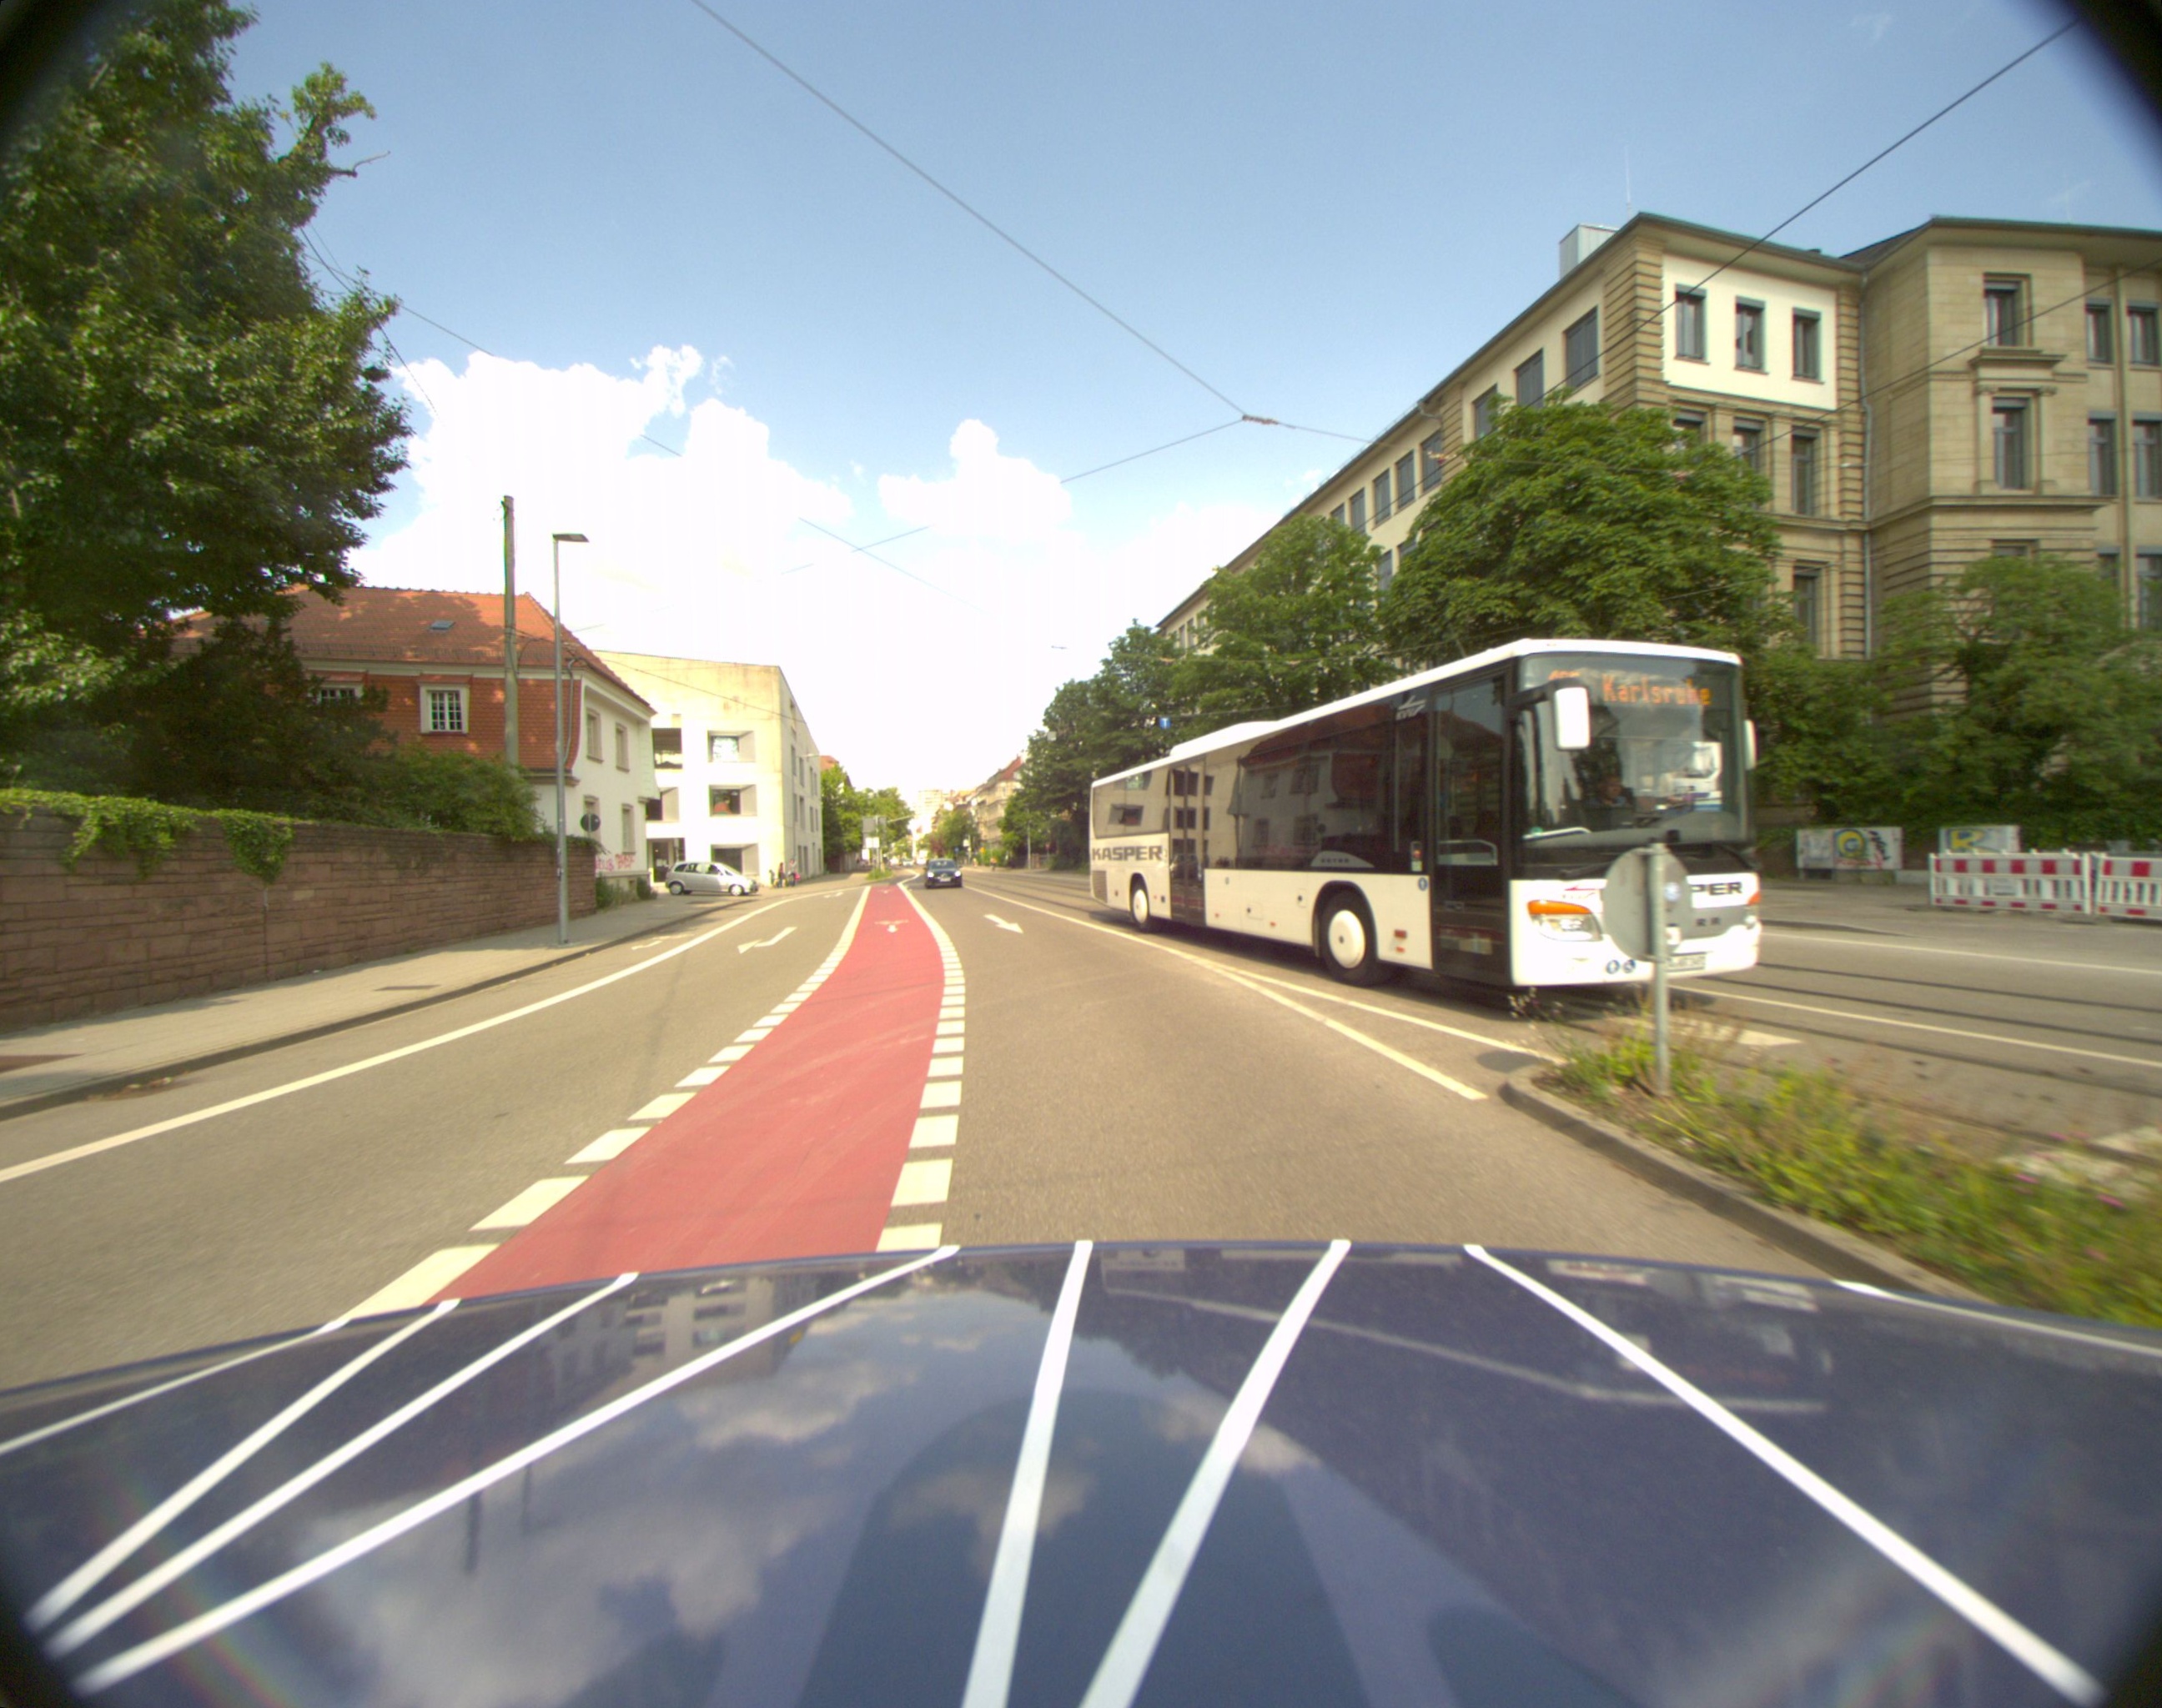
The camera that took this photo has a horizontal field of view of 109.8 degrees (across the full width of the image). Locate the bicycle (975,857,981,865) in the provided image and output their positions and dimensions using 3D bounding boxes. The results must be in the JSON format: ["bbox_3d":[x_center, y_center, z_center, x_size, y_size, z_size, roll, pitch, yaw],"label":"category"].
[{"bbox_3d":[-14.674,0.951,108.248,0.605,1.090,2.020,4,-1,-12],"label":"bicycle"}]

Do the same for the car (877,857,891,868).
[{"bbox_3d":[-27.594,1.190,106.346,1.713,1.489,4.782,-1,0,-15],"label":"car"}]

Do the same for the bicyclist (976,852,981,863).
[{"bbox_3d":[-14.652,0.484,108.301,0.601,1.483,0.881,4,-1,-12],"label":"bicyclist"}]

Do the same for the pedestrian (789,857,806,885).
[{"bbox_3d":[-17.568,1.034,47.083,0.686,1.714,0.747,0,-1,9],"label":"pedestrian"}]

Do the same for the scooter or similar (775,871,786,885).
[{"bbox_3d":[-18.208,1.449,46.086,0.551,0.795,0.267,2,-2,-38],"label":"scooter or similar"}]

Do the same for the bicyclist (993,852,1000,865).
[{"bbox_3d":[-9.663,0.510,86.720,0.693,1.510,0.866,0,0,-18],"label":"bicyclist"}]

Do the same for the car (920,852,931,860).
[{"bbox_3d":[-37.203,0.407,181.682,1.905,1.896,5.376,-1,0,-16],"label":"car"}]

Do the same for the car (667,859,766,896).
[{"bbox_3d":[-17.213,1.099,36.005,3.893,1.595,1.664,-1,-1,-11],"label":"car"}]

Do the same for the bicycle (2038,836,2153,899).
[{"bbox_3d":[20.880,0.263,15.639,2.122,1.161,0.729,-3,1,-16],"label":"bicycle"}]

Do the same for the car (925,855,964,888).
[{"bbox_3d":[-7.117,0.870,39.349,1.695,1.568,4.151,-2,0,-14],"label":"car"}]

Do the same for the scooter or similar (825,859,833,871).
[{"bbox_3d":[-24.746,1.107,74.610,0.323,1.174,1.148,-2,1,-2],"label":"scooter or similar"}]

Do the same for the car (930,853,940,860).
[{"bbox_3d":[-29.329,0.566,152.236,1.695,1.393,3.925,1,0,-15],"label":"car"}]

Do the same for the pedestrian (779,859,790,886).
[{"bbox_3d":[-17.621,1.107,45.223,0.521,1.570,0.548,0,-1,-12],"label":"pedestrian"}]

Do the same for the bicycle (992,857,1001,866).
[{"bbox_3d":[-9.640,0.868,86.669,0.701,1.011,1.816,0,0,-18],"label":"bicycle"}]

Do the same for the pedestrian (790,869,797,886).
[{"bbox_3d":[-17.233,1.408,45.525,0.344,1.004,0.396,0,-1,-24],"label":"pedestrian"}]

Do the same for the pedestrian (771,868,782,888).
[{"bbox_3d":[-17.726,1.388,44.245,0.405,1.193,0.423,-1,-1,43],"label":"pedestrian"}]

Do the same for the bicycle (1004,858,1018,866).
[{"bbox_3d":[-8.715,0.983,94.706,1.147,0.903,2.985,-5,1,-15],"label":"bicycle"}]

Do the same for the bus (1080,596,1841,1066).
[{"bbox_3d":[3.079,-0.229,11.613,2.929,3.309,12.188,-3,1,-16],"label":"bus"}]
